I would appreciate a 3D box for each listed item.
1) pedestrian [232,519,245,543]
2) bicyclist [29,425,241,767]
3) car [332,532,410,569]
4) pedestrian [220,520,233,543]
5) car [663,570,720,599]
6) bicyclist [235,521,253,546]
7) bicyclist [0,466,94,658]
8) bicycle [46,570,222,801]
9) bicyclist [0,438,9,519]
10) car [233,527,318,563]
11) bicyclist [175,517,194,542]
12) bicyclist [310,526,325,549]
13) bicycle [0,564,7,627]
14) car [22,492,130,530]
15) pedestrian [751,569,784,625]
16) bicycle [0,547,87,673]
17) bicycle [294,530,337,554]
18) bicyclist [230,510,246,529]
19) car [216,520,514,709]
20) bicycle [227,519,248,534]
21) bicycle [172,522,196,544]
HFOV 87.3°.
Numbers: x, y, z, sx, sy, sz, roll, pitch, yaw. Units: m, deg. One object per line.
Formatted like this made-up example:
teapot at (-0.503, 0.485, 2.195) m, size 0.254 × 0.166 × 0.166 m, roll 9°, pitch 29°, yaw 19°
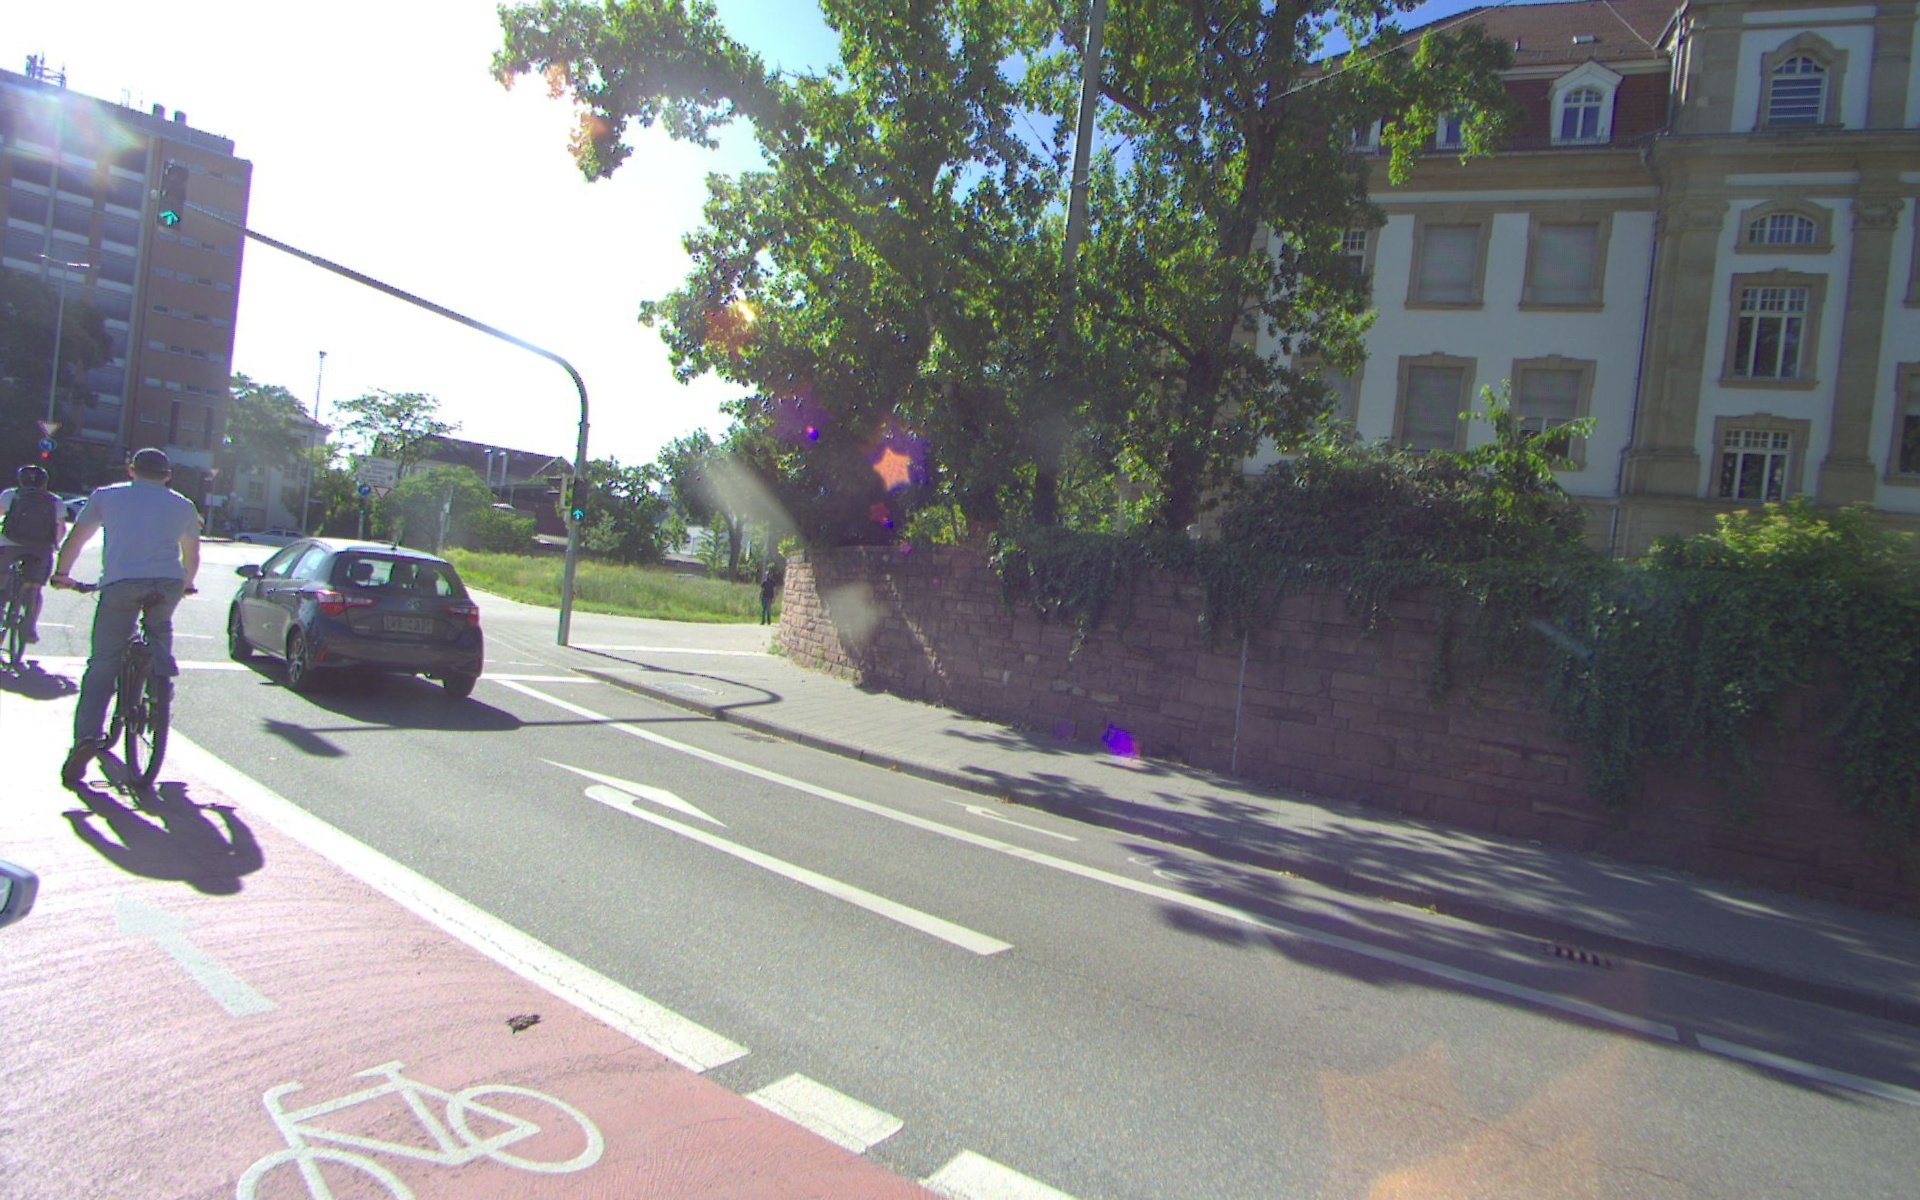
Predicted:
pedestrian at (-54.584, -5.236, 76.072) m, size 0.550 × 1.689 × 0.474 m, roll 6°, pitch -1°, yaw -21°
bicyclist at (-4.836, -0.014, 5.881) m, size 0.747 × 1.797 × 1.002 m, roll 7°, pitch 0°, yaw -43°
car at (-42.871, -3.550, 73.328) m, size 4.611 × 2.037 × 1.987 m, roll 7°, pitch -2°, yaw -28°
pedestrian at (-56.306, -5.236, 77.199) m, size 0.554 × 1.689 × 0.474 m, roll 6°, pitch -1°, yaw -21°
car at (-23.618, -1.343, 88.495) m, size 4.310 × 2.037 × 1.988 m, roll 7°, pitch -2°, yaw -27°
bicyclist at (-56.328, -5.221, 79.134) m, size 0.849 × 1.868 × 0.846 m, roll 7°, pitch -1°, yaw -28°
bicyclist at (-8.655, -0.365, 9.343) m, size 0.720 × 1.645 × 1.042 m, roll 8°, pitch -1°, yaw -44°
bicycle at (-4.925, 0.441, 5.947) m, size 0.609 × 1.090 × 1.808 m, roll 7°, pitch -1°, yaw -43°
bicyclist at (-6.692, -0.209, 6.408) m, size 0.991 × 1.769 × 0.663 m, roll 7°, pitch 0°, yaw 39°
car at (-49.628, -3.950, 73.064) m, size 4.603 × 1.922 × 1.991 m, roll 7°, pitch -2°, yaw -22°
bicyclist at (-62.742, -5.686, 81.375) m, size 0.873 × 1.818 × 1.154 m, roll 7°, pitch -1°, yaw -26°
bicyclist at (-51.666, -5.029, 80.876) m, size 0.852 × 1.712 × 0.877 m, roll 7°, pitch -1°, yaw -33°
bicycle at (-6.784, 0.205, 6.452) m, size 1.862 × 1.060 × 0.662 m, roll 7°, pitch 0°, yaw 39°
car at (-49.303, -4.917, 56.241) m, size 1.789 × 1.589 × 4.249 m, roll 6°, pitch 1°, yaw 11°
pedestrian at (-6.732, -0.111, 35.194) m, size 0.746 × 1.855 × 1.049 m, roll 6°, pitch 1°, yaw 4°
bicycle at (-8.702, 0.051, 9.343) m, size 0.721 × 0.971 × 1.860 m, roll 8°, pitch -1°, yaw -44°
bicycle at (-51.746, -4.647, 80.842) m, size 2.784 × 1.559 × 0.877 m, roll 8°, pitch -2°, yaw -34°
bicyclist at (-58.606, -6.517, 81.638) m, size 0.609 × 1.462 × 0.818 m, roll 7°, pitch 1°, yaw -6°
car at (-6.664, 0.103, 11.122) m, size 3.611 × 1.557 × 1.755 m, roll 6°, pitch -5°, yaw 44°
bicycle at (-58.687, -5.969, 81.731) m, size 0.600 × 1.106 × 1.669 m, roll 6°, pitch 0°, yaw -6°
bicycle at (-62.780, -5.402, 81.373) m, size 0.873 × 1.559 × 2.794 m, roll 7°, pitch -2°, yaw -26°
